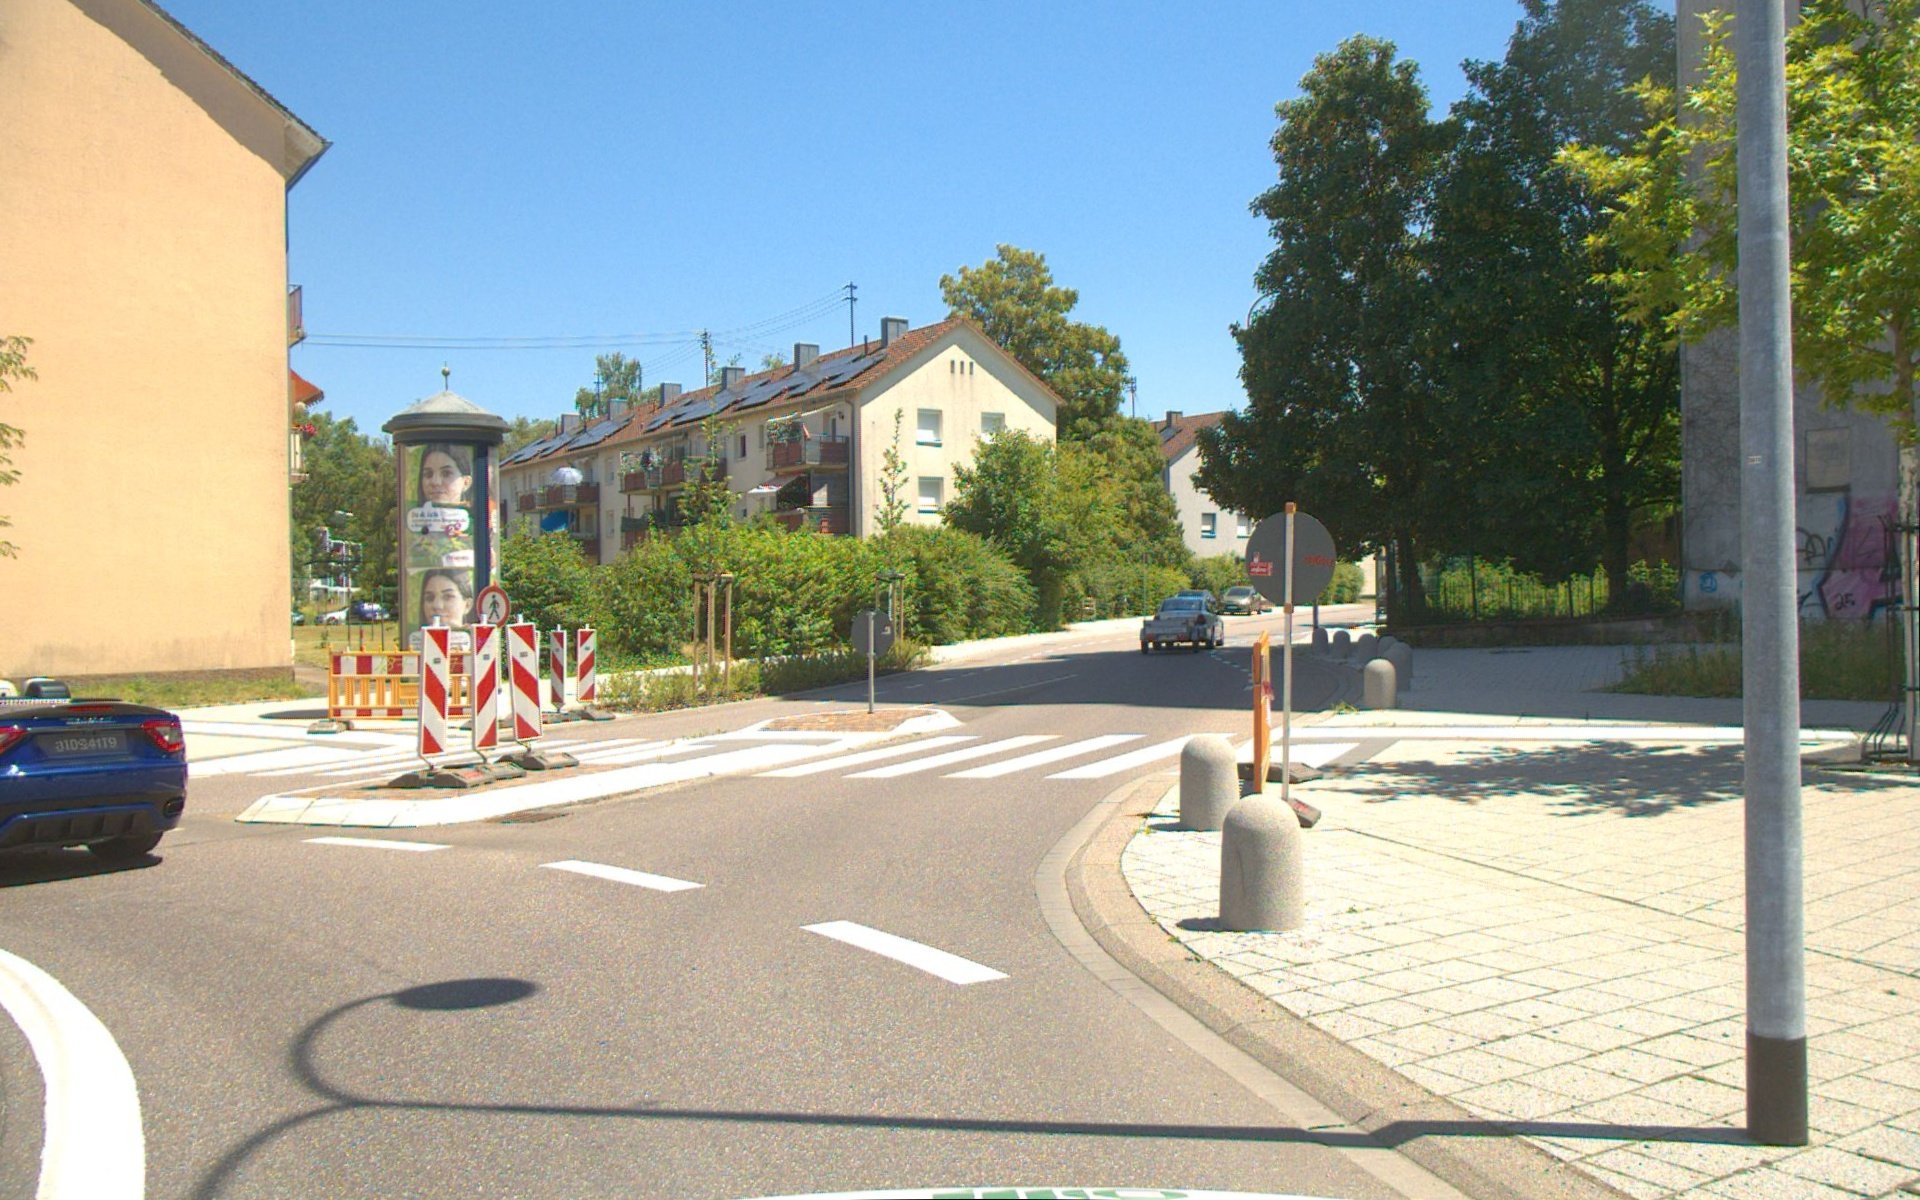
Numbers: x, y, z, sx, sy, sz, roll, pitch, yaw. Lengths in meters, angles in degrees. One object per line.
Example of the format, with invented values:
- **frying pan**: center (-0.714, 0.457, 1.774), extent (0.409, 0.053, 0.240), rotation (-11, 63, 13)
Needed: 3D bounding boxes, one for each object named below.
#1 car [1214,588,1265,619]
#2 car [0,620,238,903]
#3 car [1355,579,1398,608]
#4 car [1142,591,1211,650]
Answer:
- **car**: center (14.656, 0.155, 86.672), extent (1.704, 1.461, 3.709), rotation (-3, 0, 24)
- **car**: center (-6.962, 1.021, 10.969), extent (4.412, 1.557, 1.871), rotation (-3, -1, 33)
- **car**: center (23.079, -0.390, 91.633), extent (1.703, 1.461, 3.710), rotation (-3, 0, 23)
- **car**: center (6.004, 0.540, 45.612), extent (1.701, 1.461, 3.714), rotation (-3, 0, 9)
